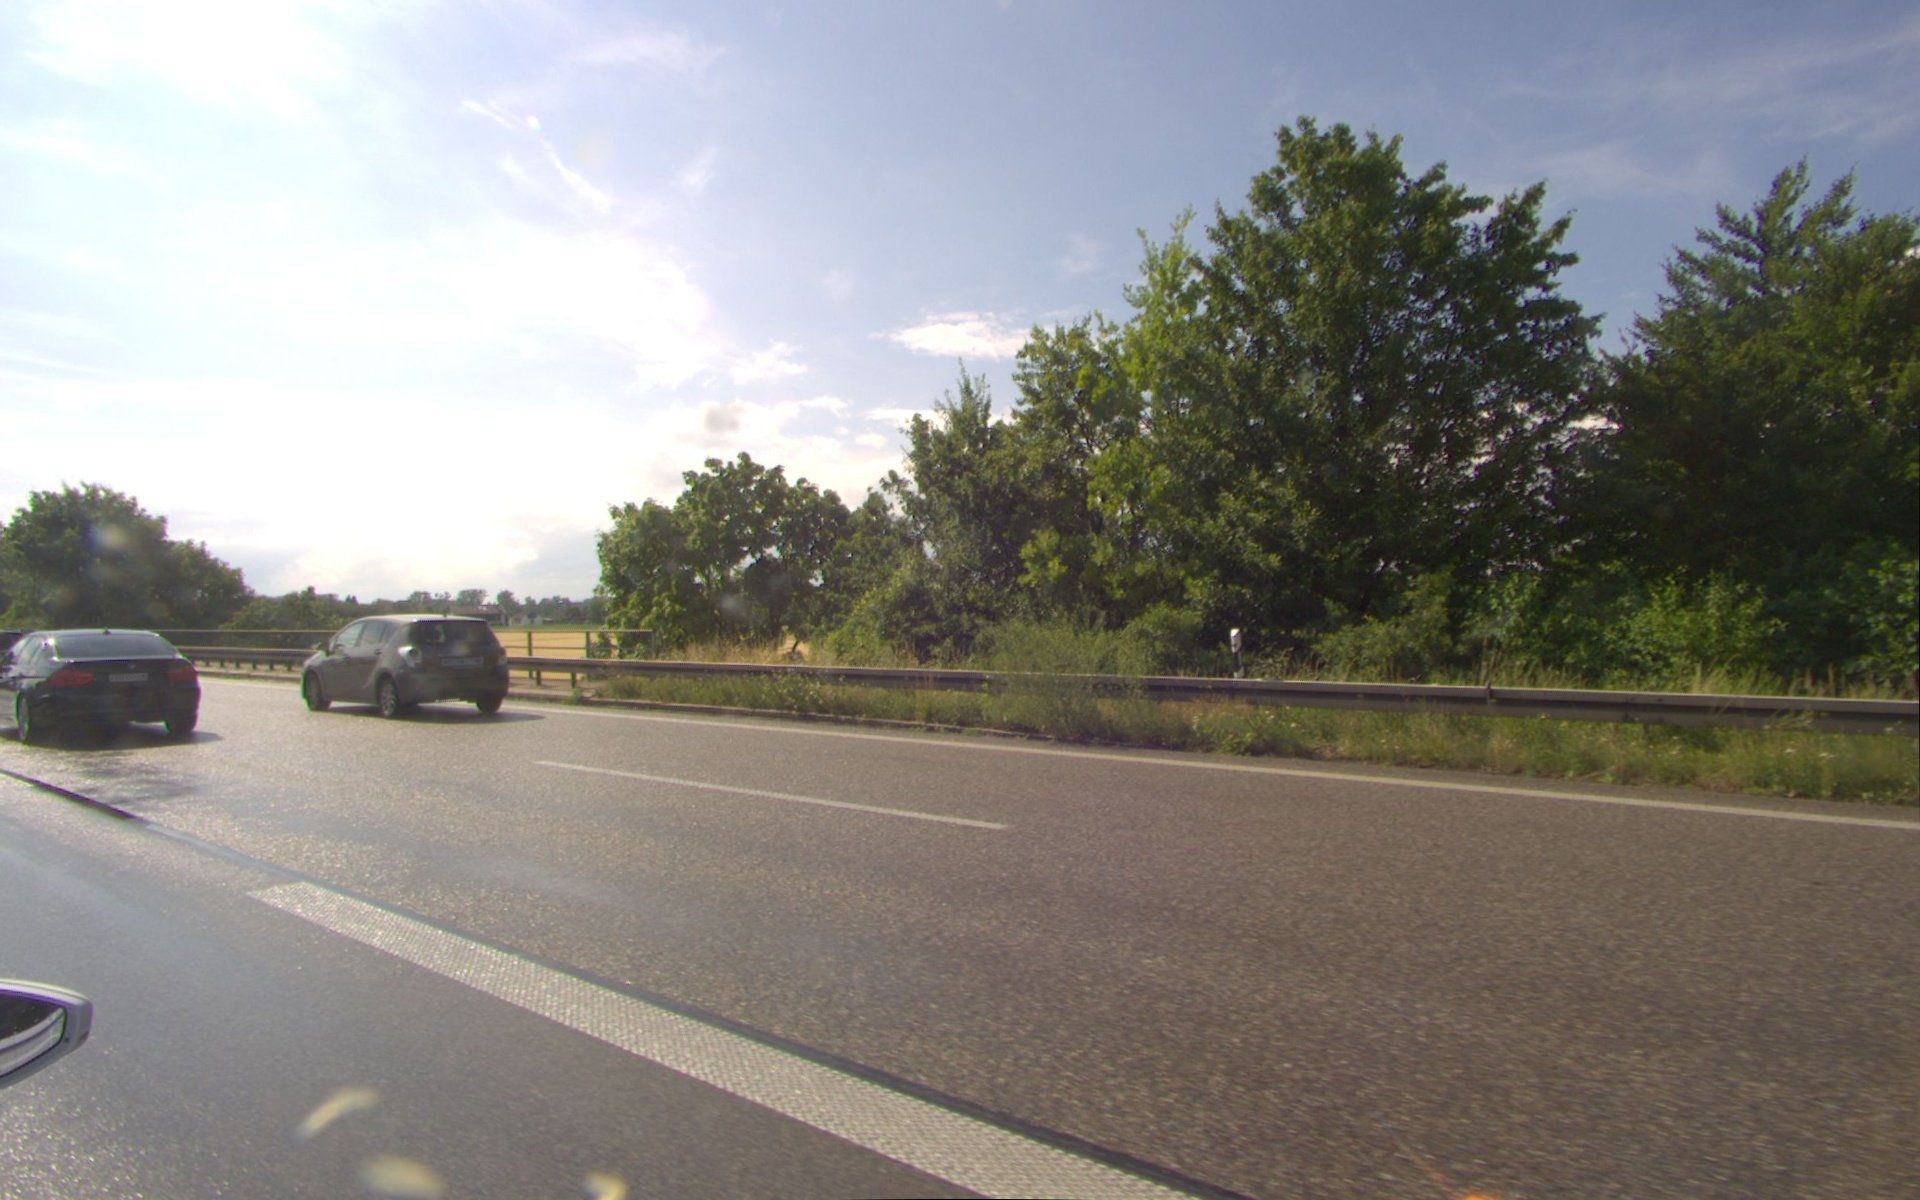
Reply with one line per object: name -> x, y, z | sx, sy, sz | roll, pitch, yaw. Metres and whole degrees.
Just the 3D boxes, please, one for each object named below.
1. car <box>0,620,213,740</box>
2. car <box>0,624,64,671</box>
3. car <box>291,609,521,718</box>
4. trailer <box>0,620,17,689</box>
car -> -12.078, 1.005, 13.878 | 3.785, 1.439, 1.735 | -1, -1, 36
car -> -30.267, 1.477, 31.905 | 4.234, 1.420, 1.765 | -1, -1, 37
car -> -9.440, 0.987, 16.940 | 4.328, 1.634, 1.782 | -1, -1, 36
trailer -> -22.346, 1.168, 21.851 | 4.093, 1.460, 1.849 | -1, -1, 36
